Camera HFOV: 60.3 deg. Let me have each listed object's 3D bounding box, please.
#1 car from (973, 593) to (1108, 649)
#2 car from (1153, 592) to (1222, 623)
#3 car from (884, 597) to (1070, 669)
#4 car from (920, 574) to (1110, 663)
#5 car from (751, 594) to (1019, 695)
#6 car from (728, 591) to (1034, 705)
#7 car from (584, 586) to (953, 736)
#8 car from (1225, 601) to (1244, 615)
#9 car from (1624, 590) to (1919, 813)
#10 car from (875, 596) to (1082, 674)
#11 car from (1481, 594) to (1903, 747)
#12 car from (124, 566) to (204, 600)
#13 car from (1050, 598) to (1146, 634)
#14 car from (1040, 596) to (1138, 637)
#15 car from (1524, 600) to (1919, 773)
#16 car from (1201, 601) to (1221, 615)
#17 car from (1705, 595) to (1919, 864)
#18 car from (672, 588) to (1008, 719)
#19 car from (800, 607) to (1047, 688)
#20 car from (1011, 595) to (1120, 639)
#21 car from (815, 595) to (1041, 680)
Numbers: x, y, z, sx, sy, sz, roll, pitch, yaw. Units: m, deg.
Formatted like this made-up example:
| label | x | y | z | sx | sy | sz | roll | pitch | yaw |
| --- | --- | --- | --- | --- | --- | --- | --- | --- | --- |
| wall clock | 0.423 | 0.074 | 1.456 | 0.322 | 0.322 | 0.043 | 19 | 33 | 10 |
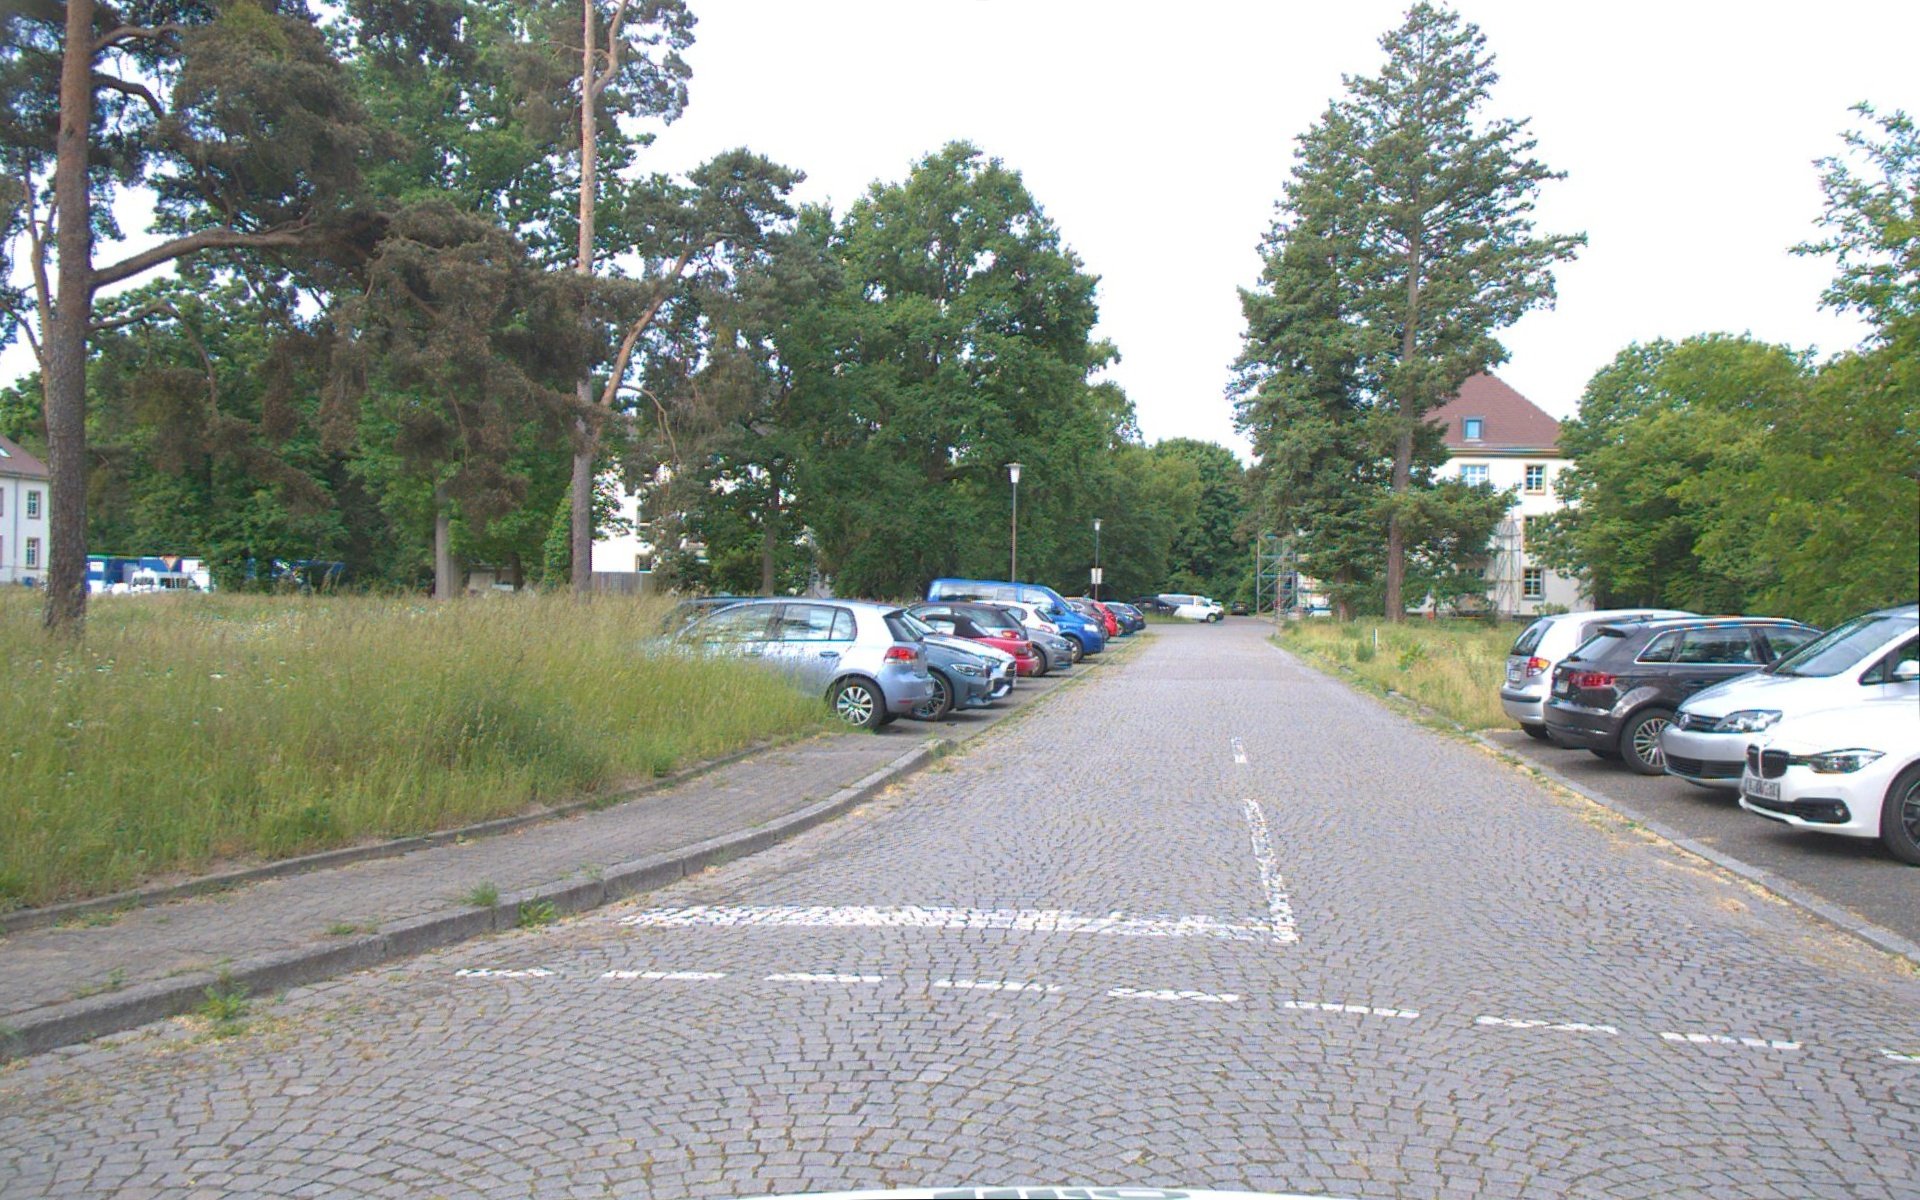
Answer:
| label | x | y | z | sx | sy | sz | roll | pitch | yaw |
| --- | --- | --- | --- | --- | --- | --- | --- | --- | --- |
| car | 2.557 | 0.645 | 51.717 | 4.078 | 1.650 | 1.988 | 1 | 0 | 6 |
| car | 17.115 | 0.551 | 124.599 | 5.124 | 2.206 | 2.001 | 1 | 0 | 6 |
| car | 0.415 | 0.720 | 37.693 | 3.981 | 1.523 | 1.847 | 1 | 0 | 9 |
| car | 1.468 | 0.463 | 42.894 | 4.680 | 2.159 | 2.117 | 1 | 0 | 7 |
| car | -1.178 | 0.685 | 27.006 | 4.077 | 1.502 | 1.866 | 1 | 0 | 8 |
| car | -1.104 | 0.679 | 24.671 | 4.281 | 1.534 | 1.937 | 1 | 0 | 6 |
| car | -2.152 | 0.663 | 19.287 | 3.902 | 1.570 | 1.907 | 1 | 0 | 7 |
| car | 31.417 | 0.969 | 189.552 | 1.910 | 1.548 | 4.003 | 1 | 0 | 7 |
| car | 7.824 | 0.738 | 13.379 | 4.150 | 1.624 | 1.886 | -2 | 0 | 5 |
| car | 0.433 | 0.709 | 34.731 | 4.077 | 1.517 | 1.866 | 1 | 0 | 10 |
| car | 8.187 | 0.772 | 18.814 | 3.987 | 1.541 | 1.805 | -2 | 0 | 6 |
| car | -51.796 | -1.097 | 107.739 | 1.951 | 2.049 | 5.234 | 1 | -1 | 11 |
| car | 6.428 | 0.744 | 76.784 | 4.211 | 1.486 | 1.977 | 2 | 0 | 10 |
| car | 5.654 | 0.688 | 72.140 | 4.138 | 1.604 | 1.888 | 2 | 0 | 7 |
| car | 7.793 | 0.808 | 16.131 | 3.987 | 1.478 | 1.886 | -2 | 0 | 6 |
| car | 28.782 | 0.931 | 189.641 | 2.073 | 1.548 | 4.003 | 1 | 0 | 7 |
| car | 7.520 | 0.743 | 10.842 | 4.397 | 1.593 | 1.907 | -2 | 0 | 6 |
| car | -1.509 | 0.666 | 21.955 | 4.160 | 1.575 | 1.937 | 1 | 0 | 5 |
| car | -0.609 | 0.804 | 29.322 | 4.077 | 1.289 | 1.833 | 1 | 0 | 9 |
| car | 3.980 | 0.636 | 62.000 | 3.969 | 1.552 | 1.906 | 1 | 0 | 7 |
| car | -0.583 | 0.689 | 32.004 | 4.077 | 1.508 | 1.847 | 1 | 0 | 9 |
